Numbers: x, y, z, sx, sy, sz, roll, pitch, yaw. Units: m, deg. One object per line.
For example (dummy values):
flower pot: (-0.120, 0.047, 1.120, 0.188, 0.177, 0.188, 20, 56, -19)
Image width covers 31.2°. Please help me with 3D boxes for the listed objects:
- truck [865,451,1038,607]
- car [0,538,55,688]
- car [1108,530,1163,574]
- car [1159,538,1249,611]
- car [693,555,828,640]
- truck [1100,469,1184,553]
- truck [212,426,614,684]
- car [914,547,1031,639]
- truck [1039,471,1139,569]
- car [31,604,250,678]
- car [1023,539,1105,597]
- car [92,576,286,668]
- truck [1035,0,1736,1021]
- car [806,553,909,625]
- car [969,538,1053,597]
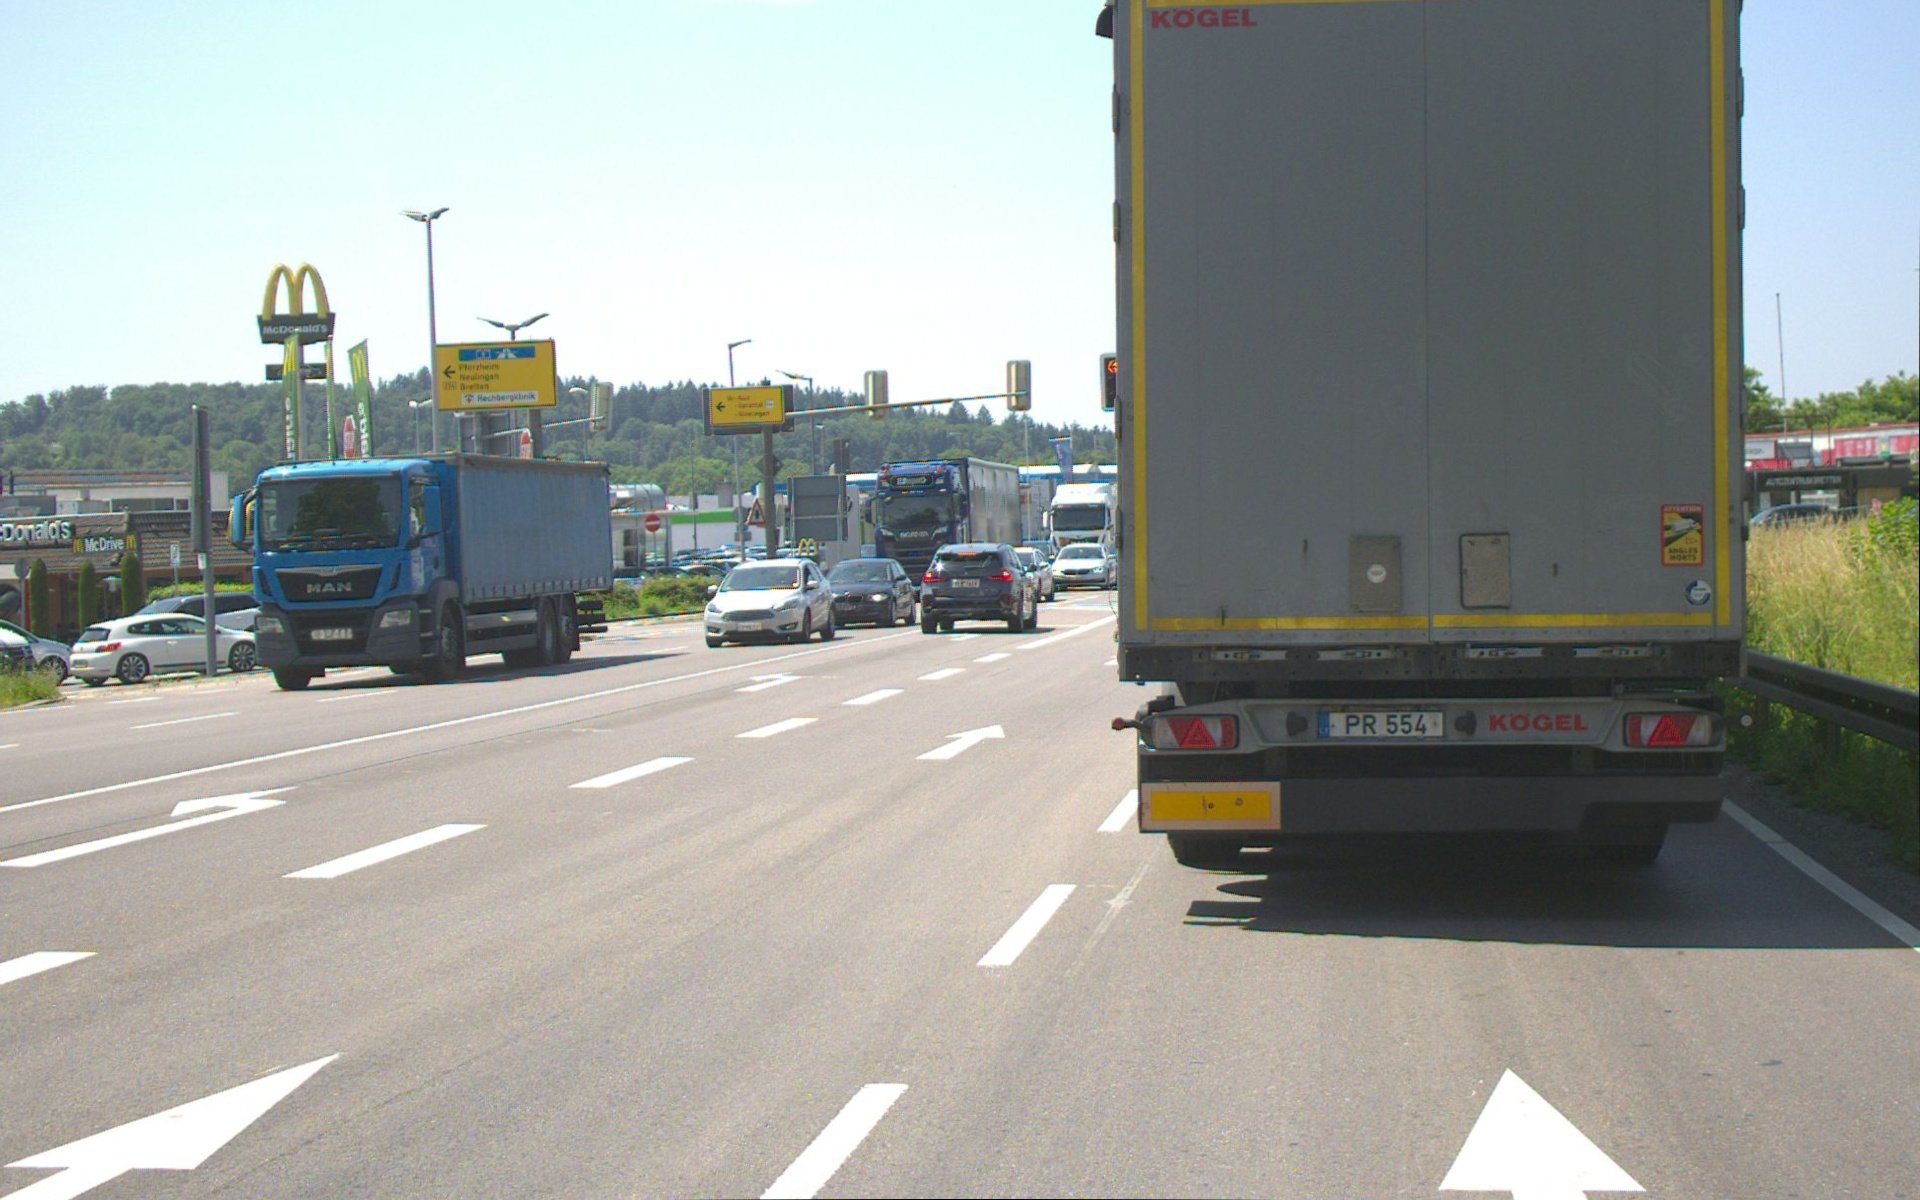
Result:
truck: (-0.037, -2.126, 105.627, 3.147, 4.334, 17.538, -1, 1, 7)
car: (-18.720, 0.466, 58.206, 5.991, 2.479, 2.195, -5, 1, 1)
car: (6.432, -1.771, 125.943, 1.664, 1.503, 3.904, -2, 1, 7)
car: (5.783, -0.615, 80.997, 1.805, 1.664, 4.290, 0, 1, 8)
car: (-3.479, -0.072, 60.645, 1.789, 1.422, 4.262, 0, 1, 5)
truck: (9.183, -4.369, 171.885, 2.935, 3.936, 13.861, -1, 1, 8)
truck: (-7.804, -0.650, 51.086, 2.847, 3.340, 11.479, -1, 0, 7)
car: (0.268, -0.157, 63.583, 1.794, 1.621, 4.369, 0, 1, 5)
truck: (5.652, -3.375, 147.660, 2.935, 3.936, 14.233, -1, 1, 7)
car: (-16.859, 0.820, 70.815, 4.002, 1.475, 1.789, 0, 0, -40)
car: (2.888, -0.890, 94.305, 1.811, 1.503, 4.945, -1, 1, 7)
car: (-18.048, 0.508, 80.630, 1.998, 2.007, 3.991, -1, 1, 41)
truck: (2.542, -0.640, 21.994, 2.756, 4.623, 16.651, 0, 0, 6)
car: (-2.073, -0.250, 70.661, 1.662, 1.399, 4.016, -1, 1, 4)
car: (1.404, -0.863, 93.463, 1.741, 1.498, 4.405, -3, 0, 7)
